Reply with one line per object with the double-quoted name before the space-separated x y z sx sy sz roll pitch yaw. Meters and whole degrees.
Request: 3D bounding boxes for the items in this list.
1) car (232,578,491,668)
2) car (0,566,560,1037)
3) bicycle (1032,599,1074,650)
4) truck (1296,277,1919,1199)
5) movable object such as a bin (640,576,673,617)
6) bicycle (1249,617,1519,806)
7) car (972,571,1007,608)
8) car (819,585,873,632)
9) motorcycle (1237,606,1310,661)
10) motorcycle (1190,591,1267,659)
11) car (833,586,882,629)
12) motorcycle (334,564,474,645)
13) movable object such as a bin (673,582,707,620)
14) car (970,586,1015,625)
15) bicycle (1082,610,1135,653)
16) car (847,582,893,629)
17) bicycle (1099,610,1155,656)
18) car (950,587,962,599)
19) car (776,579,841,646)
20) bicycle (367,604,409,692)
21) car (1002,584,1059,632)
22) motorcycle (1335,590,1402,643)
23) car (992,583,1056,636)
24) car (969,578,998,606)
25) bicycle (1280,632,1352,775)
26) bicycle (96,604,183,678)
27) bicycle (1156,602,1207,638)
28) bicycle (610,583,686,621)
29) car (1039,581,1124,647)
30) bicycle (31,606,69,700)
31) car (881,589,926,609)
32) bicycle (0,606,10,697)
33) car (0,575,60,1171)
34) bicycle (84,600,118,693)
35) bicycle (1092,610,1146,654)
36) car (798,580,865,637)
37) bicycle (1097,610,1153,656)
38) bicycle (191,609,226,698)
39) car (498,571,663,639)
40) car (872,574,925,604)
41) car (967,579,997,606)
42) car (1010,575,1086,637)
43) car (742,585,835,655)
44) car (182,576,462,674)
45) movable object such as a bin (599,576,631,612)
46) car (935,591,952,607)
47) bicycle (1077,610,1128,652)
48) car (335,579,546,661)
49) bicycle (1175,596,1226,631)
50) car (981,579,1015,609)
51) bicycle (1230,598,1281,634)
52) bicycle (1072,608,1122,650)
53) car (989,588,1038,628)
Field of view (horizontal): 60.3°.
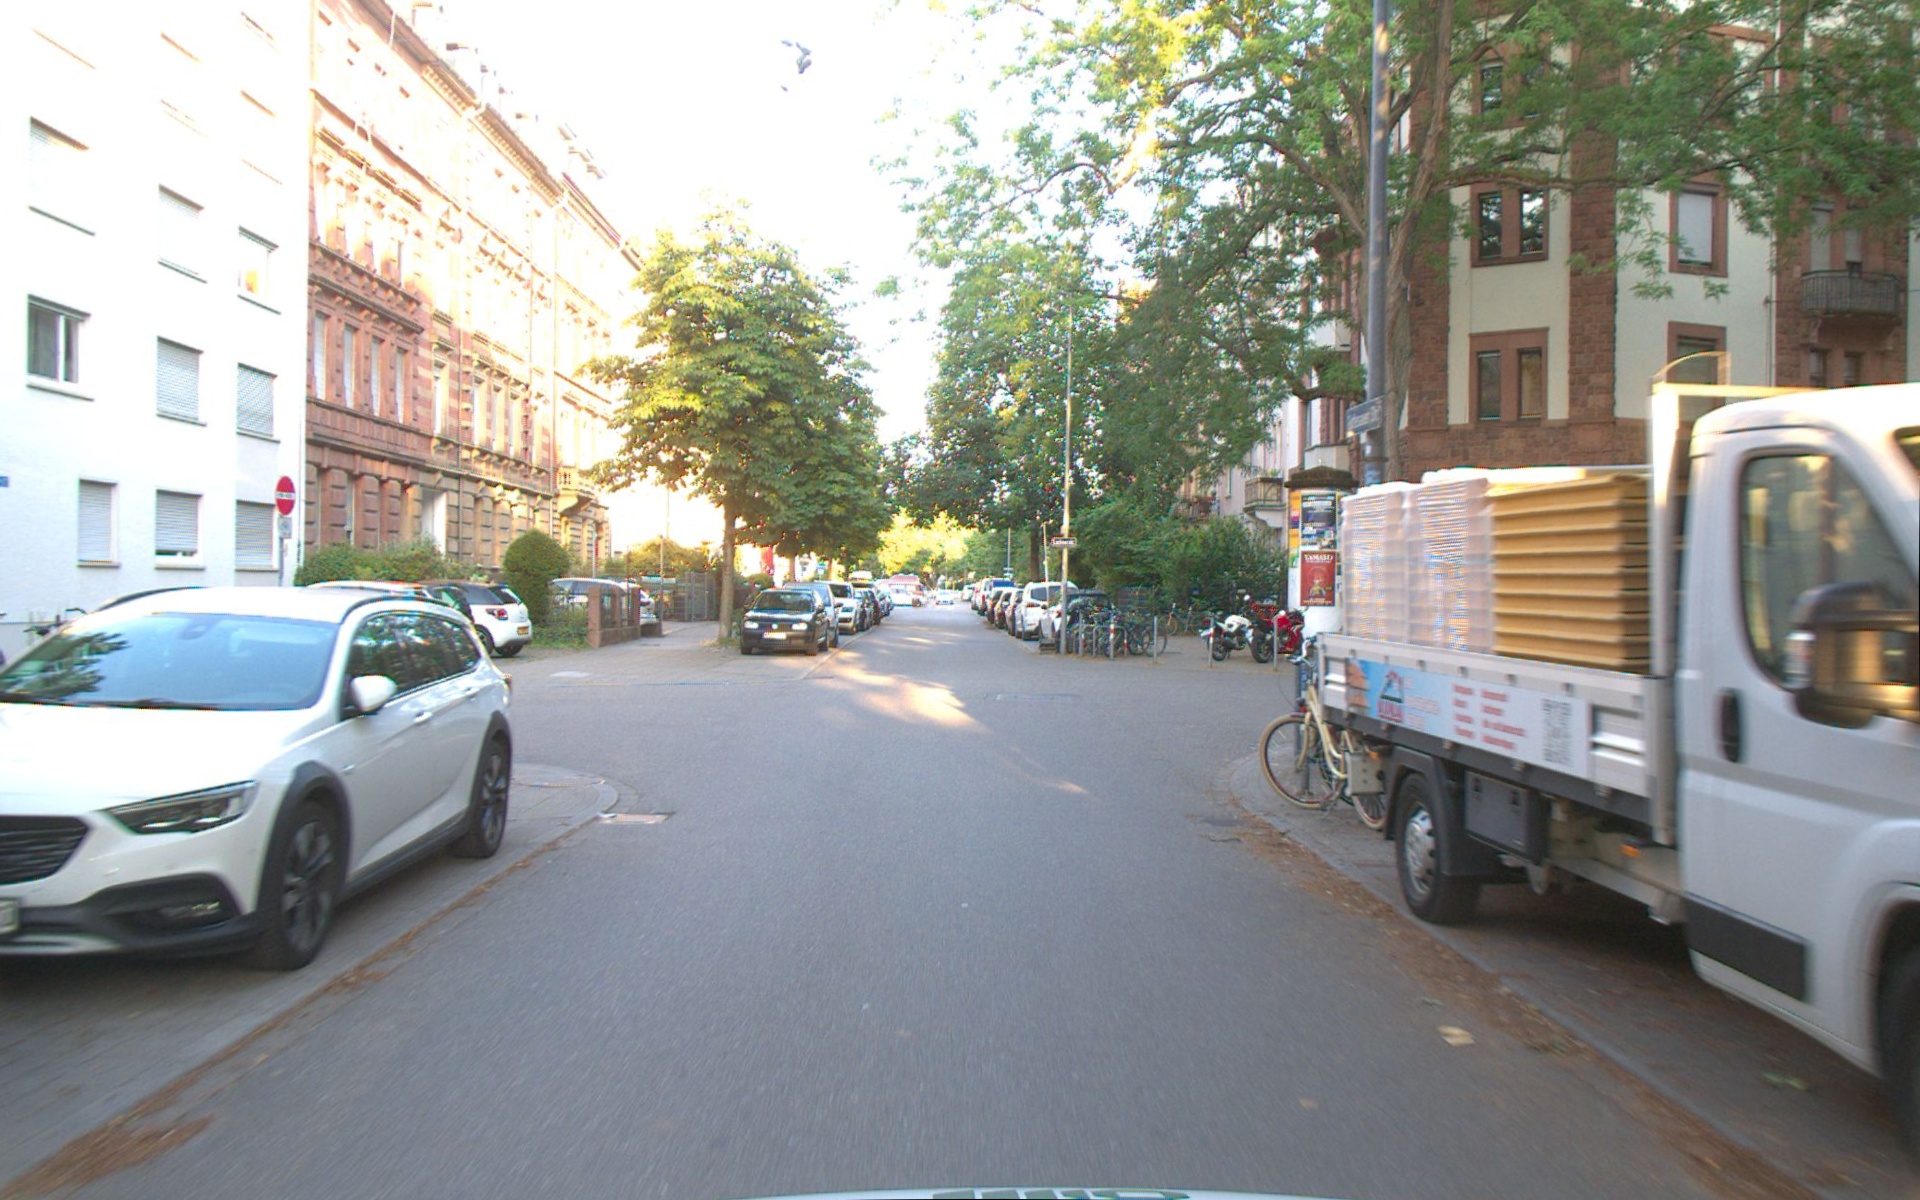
"car" -10.763 0.386 29.859 4.005 1.472 1.819 1 1 9
"car" -3.348 0.651 7.995 1.655 1.528 4.737 3 1 -1
"bicycle" 2.257 0.580 39.964 0.434 1.193 1.635 1 0 24
"truck" 3.147 0.368 6.559 1.937 2.284 6.772 0 0 -3
"movable object such as a bin" -11.104 -0.133 60.451 1.078 1.439 1.001 2 1 -15
"bicycle" 3.102 0.801 12.127 1.866 1.280 0.406 -2 0 -7
"car" 1.648 -0.587 92.563 1.647 1.975 3.878 1 0 -3
"car" -4.015 0.287 58.886 1.681 1.594 3.780 1 0 -1
"motorcycle" 6.787 0.717 35.698 0.430 1.098 2.198 1 2 44
"motorcycle" 5.961 0.528 36.623 0.575 1.432 2.199 1 2 42
"car" -3.912 0.261 63.444 1.681 1.593 3.787 1 1 -1
"motorcycle" -11.885 0.090 35.373 2.791 1.667 0.675 1 0 7
"movable object such as a bin" -9.901 0.035 60.641 0.991 1.344 1.005 3 1 4
"car" 1.385 0.232 72.323 1.653 1.634 3.937 1 0 -3
"bicycle" 3.457 0.720 38.448 1.207 0.974 0.328 0 1 -23
"car" -3.627 0.185 67.450 1.681 1.821 4.215 1 1 -1
"bicycle" 3.783 0.741 37.499 1.200 1.005 0.330 -1 1 -5
"car" -0.565 -0.998 231.924 1.681 1.624 3.482 1 1 -1
"car" -3.873 0.279 42.664 1.564 1.631 3.741 1 1 -4
"bicycle" -8.165 0.672 23.584 0.332 1.202 1.861 1 -1 -26
"car" 2.472 0.271 58.899 1.653 1.634 3.746 1 0 -3
"motorcycle" 8.945 0.352 36.185 0.430 1.098 2.096 1 2 44
"car" 2.057 0.293 54.074 1.653 1.634 4.207 1 0 -3
"car" 1.598 -0.535 113.445 1.653 1.843 3.937 1 0 -3
"bicycle" 3.209 0.891 15.020 0.397 1.129 2.156 -2 0 7
"bicycle" -12.685 0.614 25.621 0.387 1.081 1.878 1 0 0
"bicycle" 6.596 0.592 49.253 1.479 1.052 0.330 -1 1 -3
"bicycle" -10.973 0.064 58.181 2.475 1.212 0.644 3 1 5
"car" 3.118 0.338 42.957 1.654 1.620 3.655 0 1 -5
"bicycle" -12.056 0.677 21.933 0.361 1.172 1.836 1 0 -26
"car" -4.515 -0.092 132.309 3.547 1.487 1.605 1 0 -5
"bicycle" -12.732 0.663 21.675 0.361 1.136 1.836 1 0 -26
"car" -3.254 0.701 2.315 1.655 1.528 4.401 0 0 -1
"bicycle" -11.518 0.601 22.195 0.361 1.172 1.836 1 0 -26
"bicycle" 3.650 0.724 38.058 1.205 0.980 0.329 0 1 -18
"car" -4.127 0.227 53.714 1.882 1.747 4.427 1 1 -1
"bicycle" 3.705 0.747 37.140 1.199 1.004 0.330 -1 1 -3
"bicycle" -10.304 0.709 22.652 0.361 1.128 1.836 1 0 -26
"car" -10.220 0.124 44.725 4.011 1.554 1.708 4 0 -2
"car" -5.017 -0.923 134.898 4.262 2.358 1.745 1 0 -3
"car" 1.372 -0.472 106.030 1.653 1.634 3.937 1 0 -3
"car" 2.554 0.178 49.047 1.762 1.741 4.598 0 0 -3
"car" -3.862 0.414 37.791 1.583 1.496 3.962 1 1 2
"car" -10.572 0.381 27.512 4.005 1.472 1.711 1 1 8
"movable object such as a bin" -12.689 -0.224 60.777 1.078 1.230 1.001 2 1 -15
"car" -1.791 -0.118 175.249 1.776 1.624 3.482 1 1 -1
"bicycle" 3.378 0.731 39.147 1.207 0.964 0.328 0 1 -23
"car" -10.164 0.364 32.503 3.487 1.472 1.819 1 1 8
"bicycle" 7.229 0.405 49.822 1.479 1.052 0.330 -1 1 -3
"car" 2.030 -0.317 88.507 1.508 1.548 3.429 1 0 -3
"bicycle" 8.839 0.466 49.463 1.479 1.052 0.330 -1 1 -3
"bicycle" 3.291 0.697 39.759 1.210 0.968 0.327 -1 2 -29
"car" 2.039 0.290 64.271 1.652 1.466 4.208 -1 0 -1
